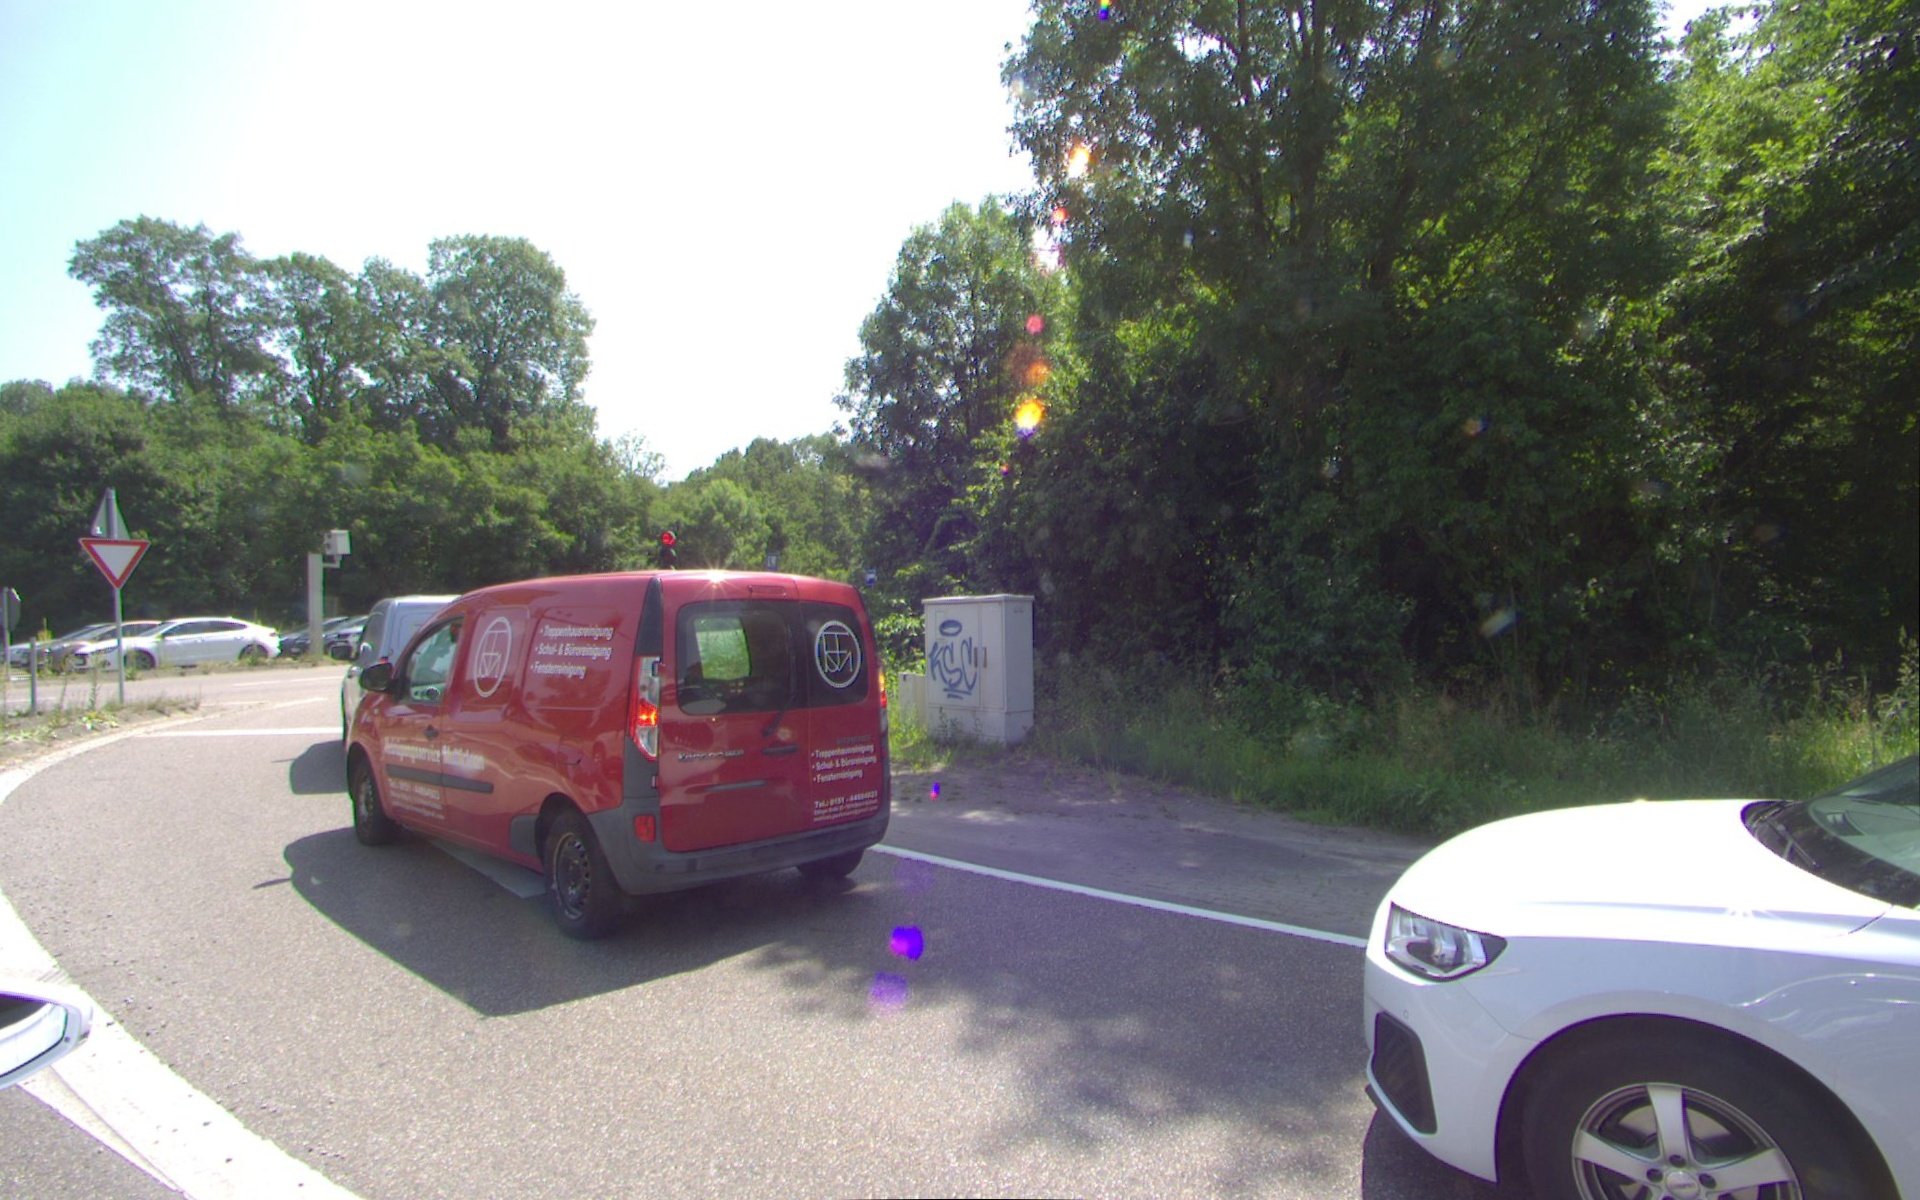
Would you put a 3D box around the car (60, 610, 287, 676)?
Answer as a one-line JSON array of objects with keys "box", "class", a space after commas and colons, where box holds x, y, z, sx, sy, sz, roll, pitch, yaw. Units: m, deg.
[{"box": [-21.115, 1.091, 27.094, 1.970, 1.555, 4.413, -1, 0, 30], "class": "car"}]

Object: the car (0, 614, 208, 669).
[{"box": [-27.004, 1.254, 31.524, 1.992, 1.518, 4.922, -2, -1, 32], "class": "car"}]

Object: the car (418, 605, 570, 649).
[{"box": [-18.263, 1.040, 39.523, 2.107, 1.554, 5.118, -2, 0, 31], "class": "car"}]

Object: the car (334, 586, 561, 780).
[{"box": [-5.992, 0.788, 11.456, 1.740, 1.797, 4.084, 0, 0, -35], "class": "car"}]

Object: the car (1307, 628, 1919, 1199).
[{"box": [2.964, 0.807, 2.093, 3.946, 1.453, 1.686, -1, -3, 35], "class": "car"}]

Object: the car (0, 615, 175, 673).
[{"box": [-24.925, 1.184, 28.130, 1.965, 1.466, 4.086, -1, 0, 29], "class": "car"}]

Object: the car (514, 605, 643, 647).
[{"box": [-14.508, 0.967, 38.282, 1.946, 1.433, 4.321, -1, 0, 32], "class": "car"}]

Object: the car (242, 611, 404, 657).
[{"box": [-23.330, 1.198, 36.852, 2.082, 1.518, 4.608, -1, 0, 31], "class": "car"}]

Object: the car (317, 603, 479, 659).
[{"box": [-18.143, 0.949, 32.531, 1.971, 1.681, 4.164, -1, 0, 31], "class": "car"}]

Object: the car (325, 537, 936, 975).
[{"box": [-2.362, 0.707, 6.400, 4.447, 1.846, 1.782, -1, -2, 43], "class": "car"}]

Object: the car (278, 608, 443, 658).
[{"box": [-20.516, 1.093, 34.445, 2.091, 1.555, 4.411, -2, 0, 31], "class": "car"}]
